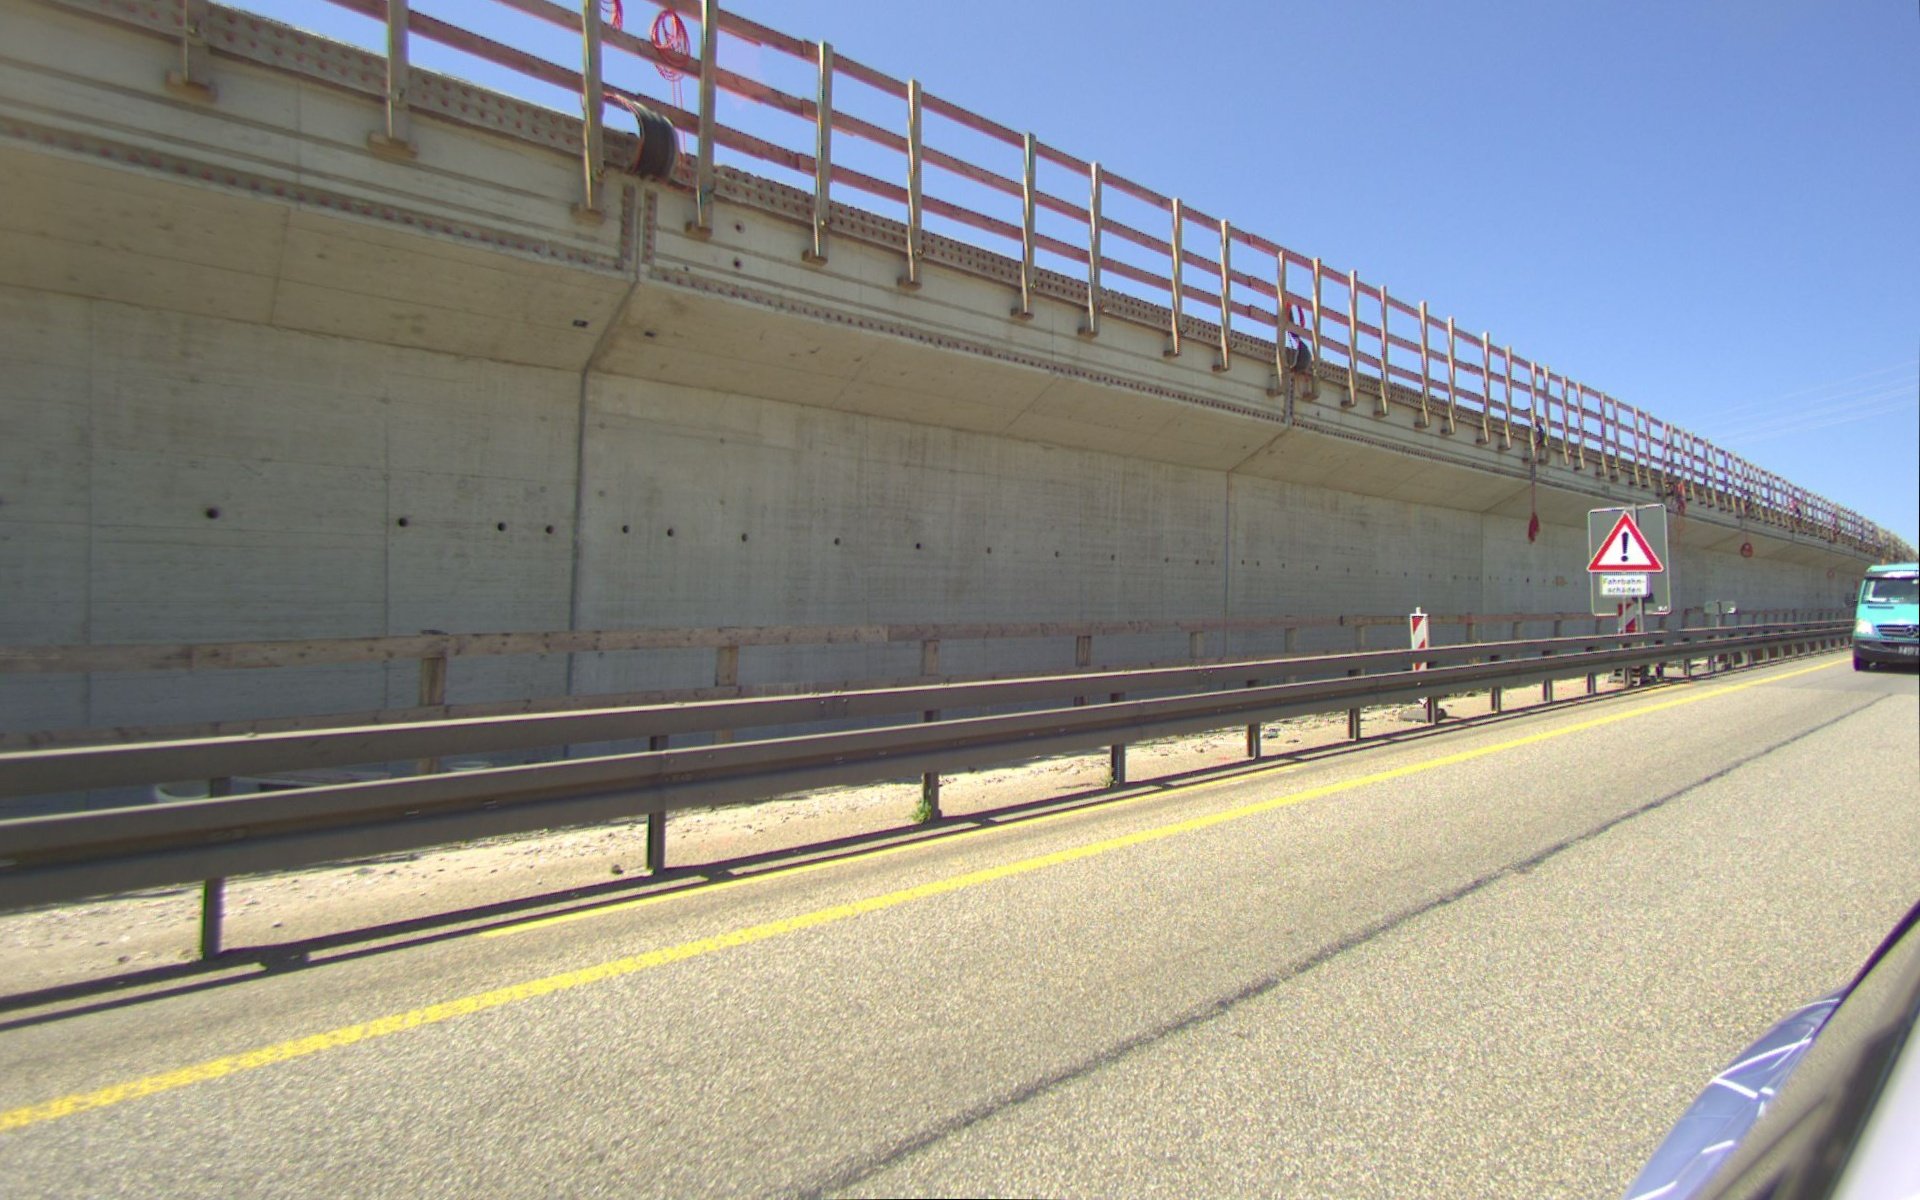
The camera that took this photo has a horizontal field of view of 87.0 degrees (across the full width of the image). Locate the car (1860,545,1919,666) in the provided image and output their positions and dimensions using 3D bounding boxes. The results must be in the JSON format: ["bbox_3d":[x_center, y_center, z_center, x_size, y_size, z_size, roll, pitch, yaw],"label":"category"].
[{"bbox_3d":[21.868,0.077,22.459,7.086,2.411,1.966,-1,-1,-42],"label":"car"}]
